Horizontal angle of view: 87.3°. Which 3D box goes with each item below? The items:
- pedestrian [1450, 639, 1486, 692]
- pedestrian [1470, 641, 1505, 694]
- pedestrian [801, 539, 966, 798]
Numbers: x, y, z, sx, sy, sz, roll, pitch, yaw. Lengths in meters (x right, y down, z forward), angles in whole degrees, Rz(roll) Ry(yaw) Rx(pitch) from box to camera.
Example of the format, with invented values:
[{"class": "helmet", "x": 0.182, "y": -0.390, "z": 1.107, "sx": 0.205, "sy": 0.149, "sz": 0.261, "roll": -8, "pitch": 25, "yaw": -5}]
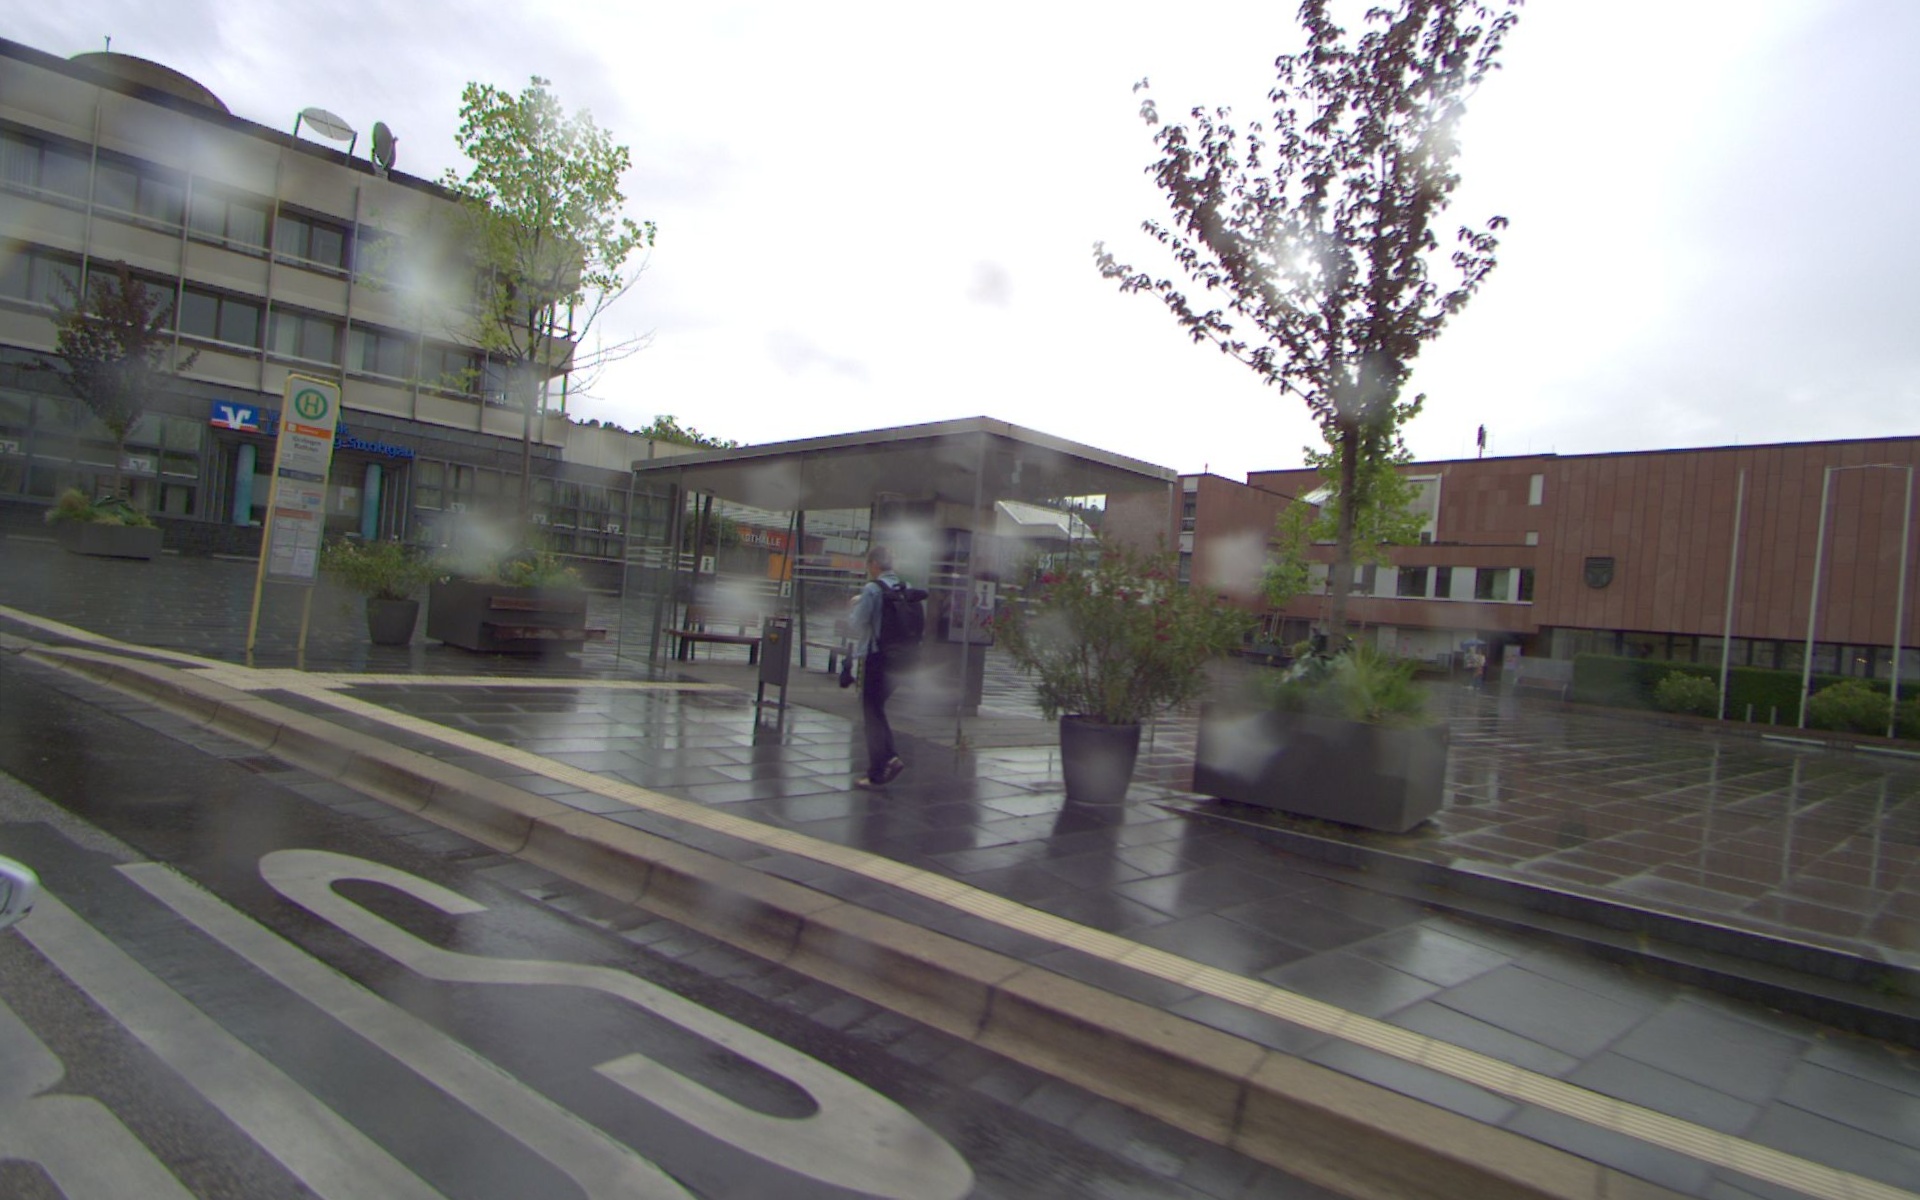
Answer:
[{"class": "pedestrian", "x": 20.887, "y": 2.684, "z": 41.381, "sx": 0.847, "sy": 2.040, "sz": 0.731, "roll": 5, "pitch": 1, "yaw": -7}, {"class": "pedestrian", "x": 21.739, "y": 2.782, "z": 41.483, "sx": 0.847, "sy": 2.040, "sz": 0.731, "roll": 5, "pitch": 1, "yaw": -7}, {"class": "pedestrian", "x": -0.521, "y": 0.450, "z": 6.917, "sx": 0.683, "sy": 1.638, "sz": 0.727, "roll": 6, "pitch": 2, "yaw": 38}]
